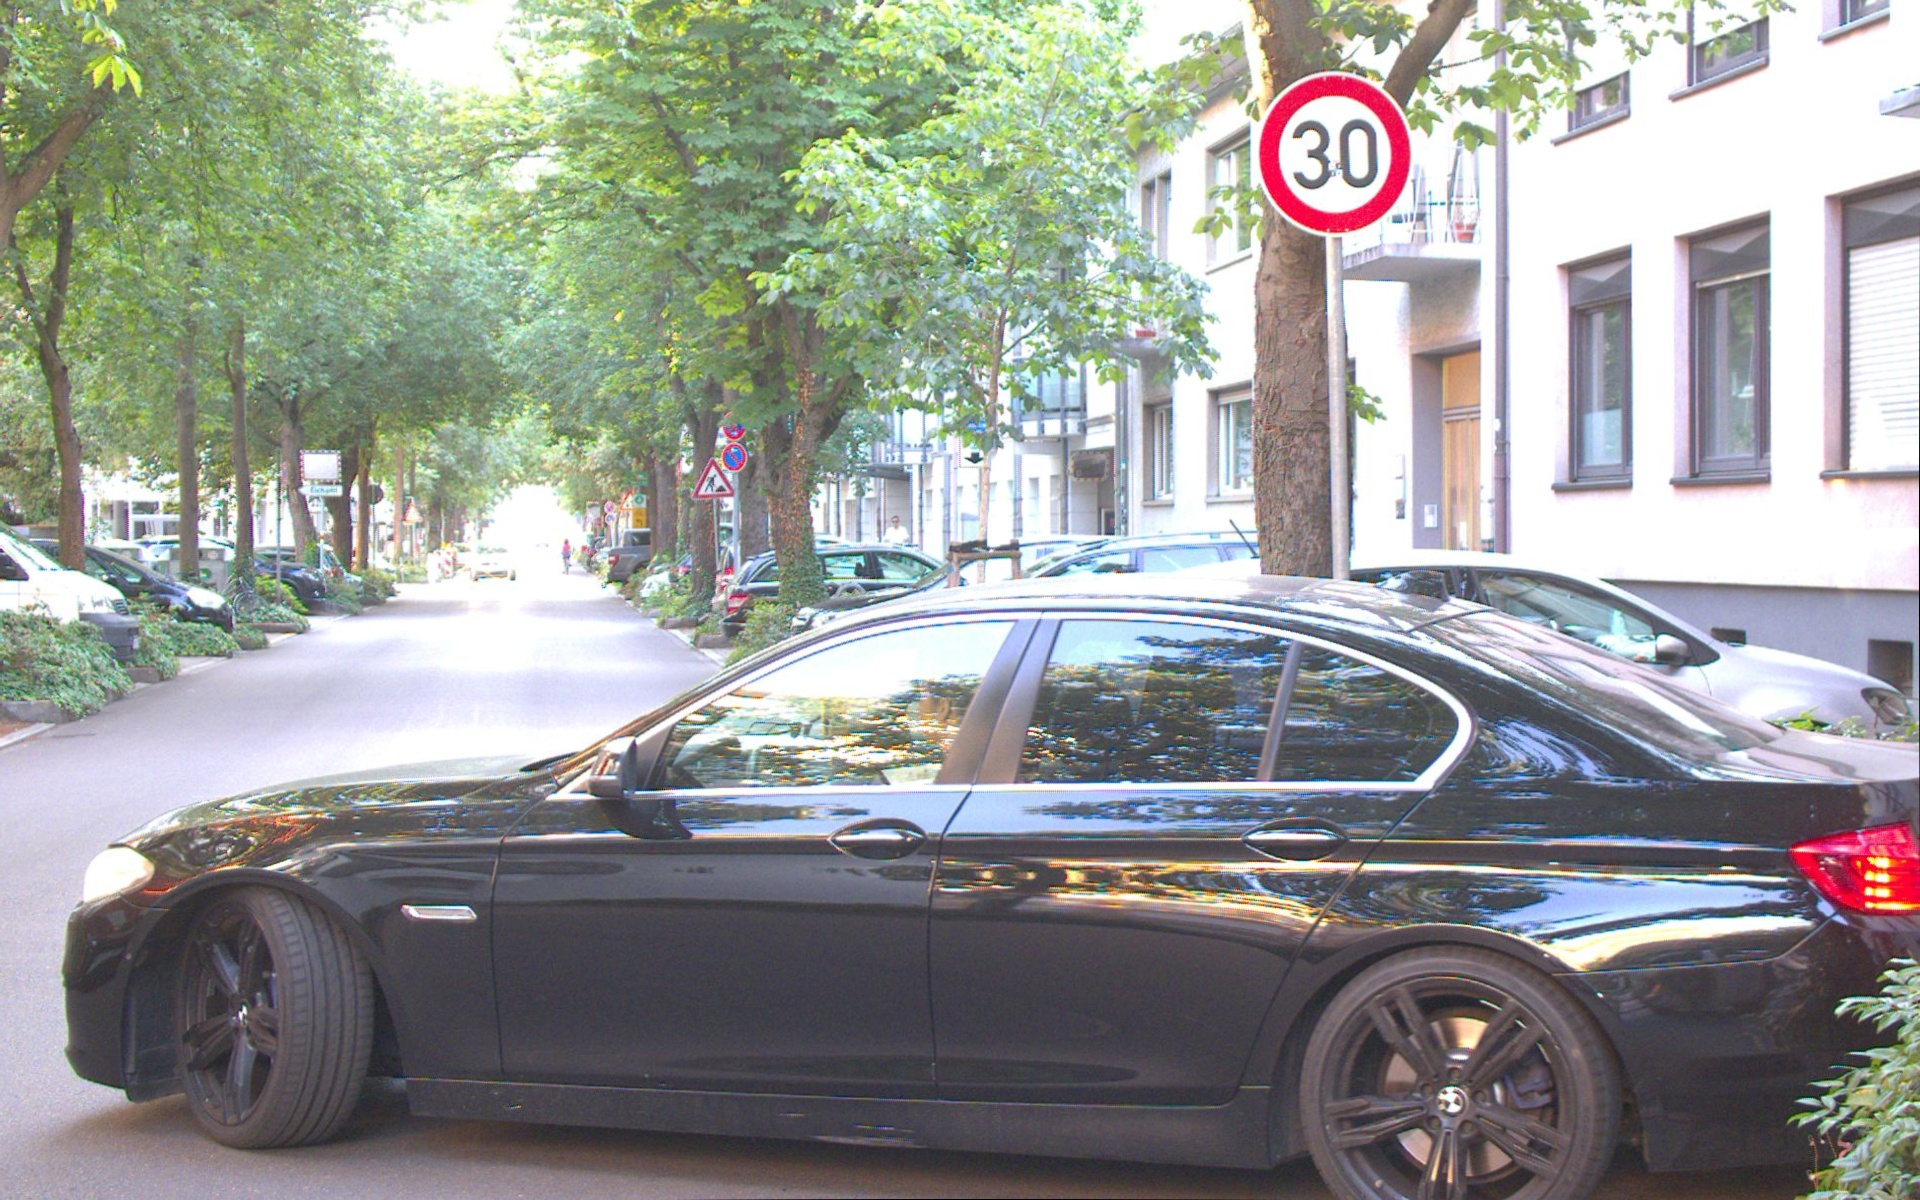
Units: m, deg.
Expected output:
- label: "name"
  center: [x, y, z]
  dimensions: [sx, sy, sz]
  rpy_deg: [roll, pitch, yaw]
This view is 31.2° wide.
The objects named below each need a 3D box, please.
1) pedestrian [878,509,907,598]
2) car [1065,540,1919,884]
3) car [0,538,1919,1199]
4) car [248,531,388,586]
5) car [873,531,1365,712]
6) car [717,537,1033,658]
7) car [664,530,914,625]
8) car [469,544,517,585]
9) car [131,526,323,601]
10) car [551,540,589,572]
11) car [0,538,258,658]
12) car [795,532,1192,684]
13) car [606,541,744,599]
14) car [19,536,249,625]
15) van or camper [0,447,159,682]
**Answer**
- label: "pedestrian"
  center: [-1.535, -1.065, 78.217]
  dimensions: [0.589, 2.007, 0.669]
  rpy_deg: [0, 1, -5]
- label: "car"
  center: [2.565, 0.470, 16.080]
  dimensions: [3.908, 1.471, 1.665]
  rpy_deg: [-1, 1, -8]
- label: "car"
  center: [0.096, 0.595, 8.508]
  dimensions: [4.749, 1.475, 1.798]
  rpy_deg: [0, 1, 19]
- label: "car"
  center: [-19.168, -1.242, 102.799]
  dimensions: [3.967, 1.614, 1.785]
  rpy_deg: [0, 1, -5]
- label: "car"
  center: [1.333, 0.155, 29.695]
  dimensions: [3.967, 1.471, 1.785]
  rpy_deg: [-1, 1, -8]
- label: "car"
  center: [-1.135, -0.055, 44.964]
  dimensions: [3.967, 1.522, 1.785]
  rpy_deg: [-1, 1, -7]
- label: "car"
  center: [-2.851, -0.386, 56.827]
  dimensions: [3.967, 1.522, 1.785]
  rpy_deg: [-1, 1, -8]
- label: "car"
  center: [-18.506, -1.412, 136.328]
  dimensions: [1.779, 1.557, 4.169]
  rpy_deg: [0, 1, -6]
- label: "car"
  center: [-16.216, -0.816, 76.168]
  dimensions: [3.967, 1.614, 1.785]
  rpy_deg: [0, 1, -5]
- label: "car"
  center: [-18.986, -2.162, 167.437]
  dimensions: [1.822, 1.525, 4.001]
  rpy_deg: [-1, 1, -6]
- label: "car"
  center: [-11.929, -0.042, 48.047]
  dimensions: [3.967, 1.614, 1.785]
  rpy_deg: [0, 1, -6]
- label: "car"
  center: [0.317, 0.057, 36.153]
  dimensions: [3.967, 1.522, 1.785]
  rpy_deg: [-1, 1, -7]
- label: "car"
  center: [-8.356, -0.889, 100.779]
  dimensions: [3.967, 1.678, 1.785]
  rpy_deg: [0, 1, -5]
- label: "car"
  center: [-15.467, -0.385, 64.512]
  dimensions: [3.967, 1.614, 1.785]
  rpy_deg: [0, 1, -5]
- label: "van or camper"
  center: [-11.132, -0.387, 37.049]
  dimensions: [4.662, 2.470, 2.000]
  rpy_deg: [0, 1, -7]
